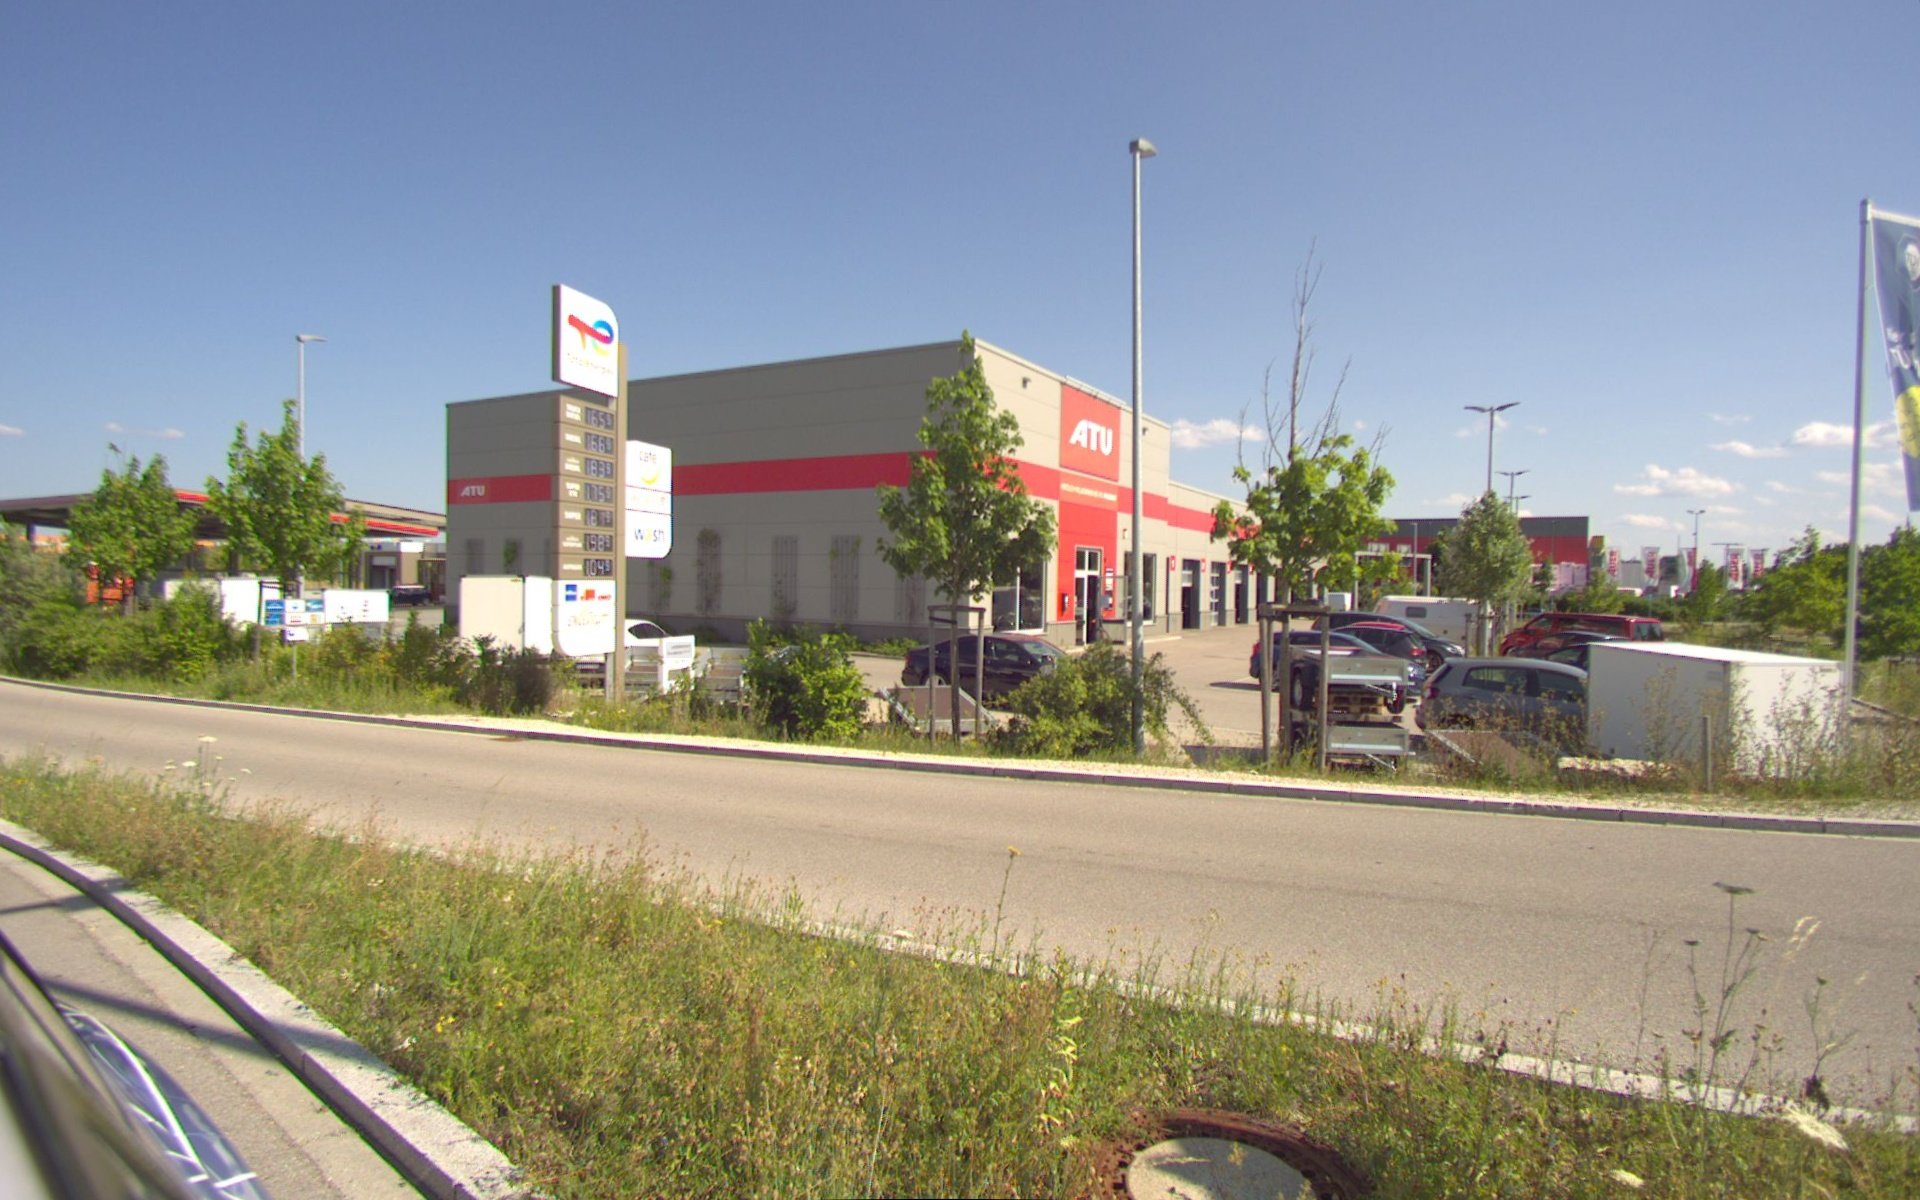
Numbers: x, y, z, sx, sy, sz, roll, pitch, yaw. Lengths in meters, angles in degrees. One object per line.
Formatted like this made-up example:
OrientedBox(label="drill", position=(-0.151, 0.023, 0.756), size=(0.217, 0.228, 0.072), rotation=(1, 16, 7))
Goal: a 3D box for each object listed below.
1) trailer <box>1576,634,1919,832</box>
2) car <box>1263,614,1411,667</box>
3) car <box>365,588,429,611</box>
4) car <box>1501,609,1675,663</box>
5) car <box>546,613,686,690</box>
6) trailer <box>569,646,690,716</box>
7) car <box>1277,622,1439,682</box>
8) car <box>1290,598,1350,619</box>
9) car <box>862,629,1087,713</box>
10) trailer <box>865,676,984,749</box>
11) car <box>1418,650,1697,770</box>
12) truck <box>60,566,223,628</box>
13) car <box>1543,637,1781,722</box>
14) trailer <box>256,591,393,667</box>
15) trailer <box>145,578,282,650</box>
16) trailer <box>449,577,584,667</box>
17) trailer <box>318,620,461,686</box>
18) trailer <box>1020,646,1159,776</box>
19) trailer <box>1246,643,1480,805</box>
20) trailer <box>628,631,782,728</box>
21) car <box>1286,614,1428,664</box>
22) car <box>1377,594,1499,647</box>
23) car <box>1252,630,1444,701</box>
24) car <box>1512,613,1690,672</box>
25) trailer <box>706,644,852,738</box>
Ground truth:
OrientedBox(label="trailer", position=(9.634, 1.462, 12.458), size=(1.782, 1.785, 3.698), rotation=(-1, 2, -1))
OrientedBox(label="car", position=(11.653, 1.213, 31.337), size=(3.990, 1.475, 1.804), rotation=(0, 1, 34))
OrientedBox(label="car", position=(-39.680, -0.067, 71.374), size=(1.694, 1.586, 3.637), rotation=(0, 1, 39))
OrientedBox(label="car", position=(19.938, 1.087, 32.373), size=(1.794, 1.475, 4.470), rotation=(-1, 1, -25))
OrientedBox(label="car", position=(-7.911, 1.138, 23.687), size=(1.697, 1.548, 3.995), rotation=(0, 1, 4))
OrientedBox(label="trailer", position=(-6.246, 1.502, 19.365), size=(1.303, 1.094, 2.773), rotation=(0, 1, 3))
OrientedBox(label="car", position=(11.231, 1.423, 28.654), size=(3.990, 1.475, 1.804), rotation=(0, 1, 34))
OrientedBox(label="car", position=(41.251, 0.964, 116.059), size=(2.008, 2.251, 6.281), rotation=(-1, 1, -42))
OrientedBox(label="car", position=(0.244, 1.406, 21.230), size=(4.486, 1.495, 1.783), rotation=(0, 0, 34))
OrientedBox(label="trailer", position=(-0.531, 1.857, 17.141), size=(1.841, 0.888, 2.837), rotation=(0, 1, 1))
OrientedBox(label="car", position=(9.622, 1.699, 16.515), size=(3.731, 1.563, 1.725), rotation=(0, 1, 32))
OrientedBox(label="truck", position=(-46.850, -0.188, 58.199), size=(2.624, 3.343, 6.854), rotation=(0, 1, 22))
OrientedBox(label="car", position=(15.753, 1.723, 22.952), size=(1.794, 1.475, 4.014), rotation=(2, 1, -25))
OrientedBox(label="trailer", position=(-17.738, 0.762, 28.384), size=(1.976, 2.029, 2.732), rotation=(0, 1, 6))
OrientedBox(label="trailer", position=(-22.554, 0.384, 30.738), size=(1.969, 2.029, 3.211), rotation=(-1, 1, -6))
OrientedBox(label="trailer", position=(-10.585, 0.480, 24.392), size=(1.724, 2.029, 3.238), rotation=(0, 1, 2))
OrientedBox(label="trailer", position=(-15.327, 1.385, 27.406), size=(1.580, 1.521, 3.594), rotation=(-1, 1, 6))
OrientedBox(label="trailer", position=(1.953, 1.668, 16.257), size=(1.684, 1.462, 3.698), rotation=(0, 3, -1))
OrientedBox(label="trailer", position=(5.509, 1.614, 14.369), size=(1.782, 1.785, 3.697), rotation=(0, 1, -1))
OrientedBox(label="trailer", position=(-4.642, 1.392, 18.837), size=(1.533, 1.495, 3.179), rotation=(0, 1, 12))
OrientedBox(label="car", position=(12.864, 1.223, 32.860), size=(3.990, 1.475, 1.804), rotation=(0, 1, 34))
OrientedBox(label="car", position=(19.276, 0.790, 40.840), size=(4.332, 2.029, 1.884), rotation=(0, 1, 30))
OrientedBox(label="car", position=(9.057, 1.466, 23.665), size=(3.983, 1.475, 1.807), rotation=(0, -2, 29))
OrientedBox(label="car", position=(18.402, 1.167, 29.242), size=(1.794, 1.475, 4.013), rotation=(-1, 1, -25))
OrientedBox(label="trailer", position=(-3.124, 1.541, 17.941), size=(1.378, 1.332, 2.895), rotation=(0, 1, 17))
